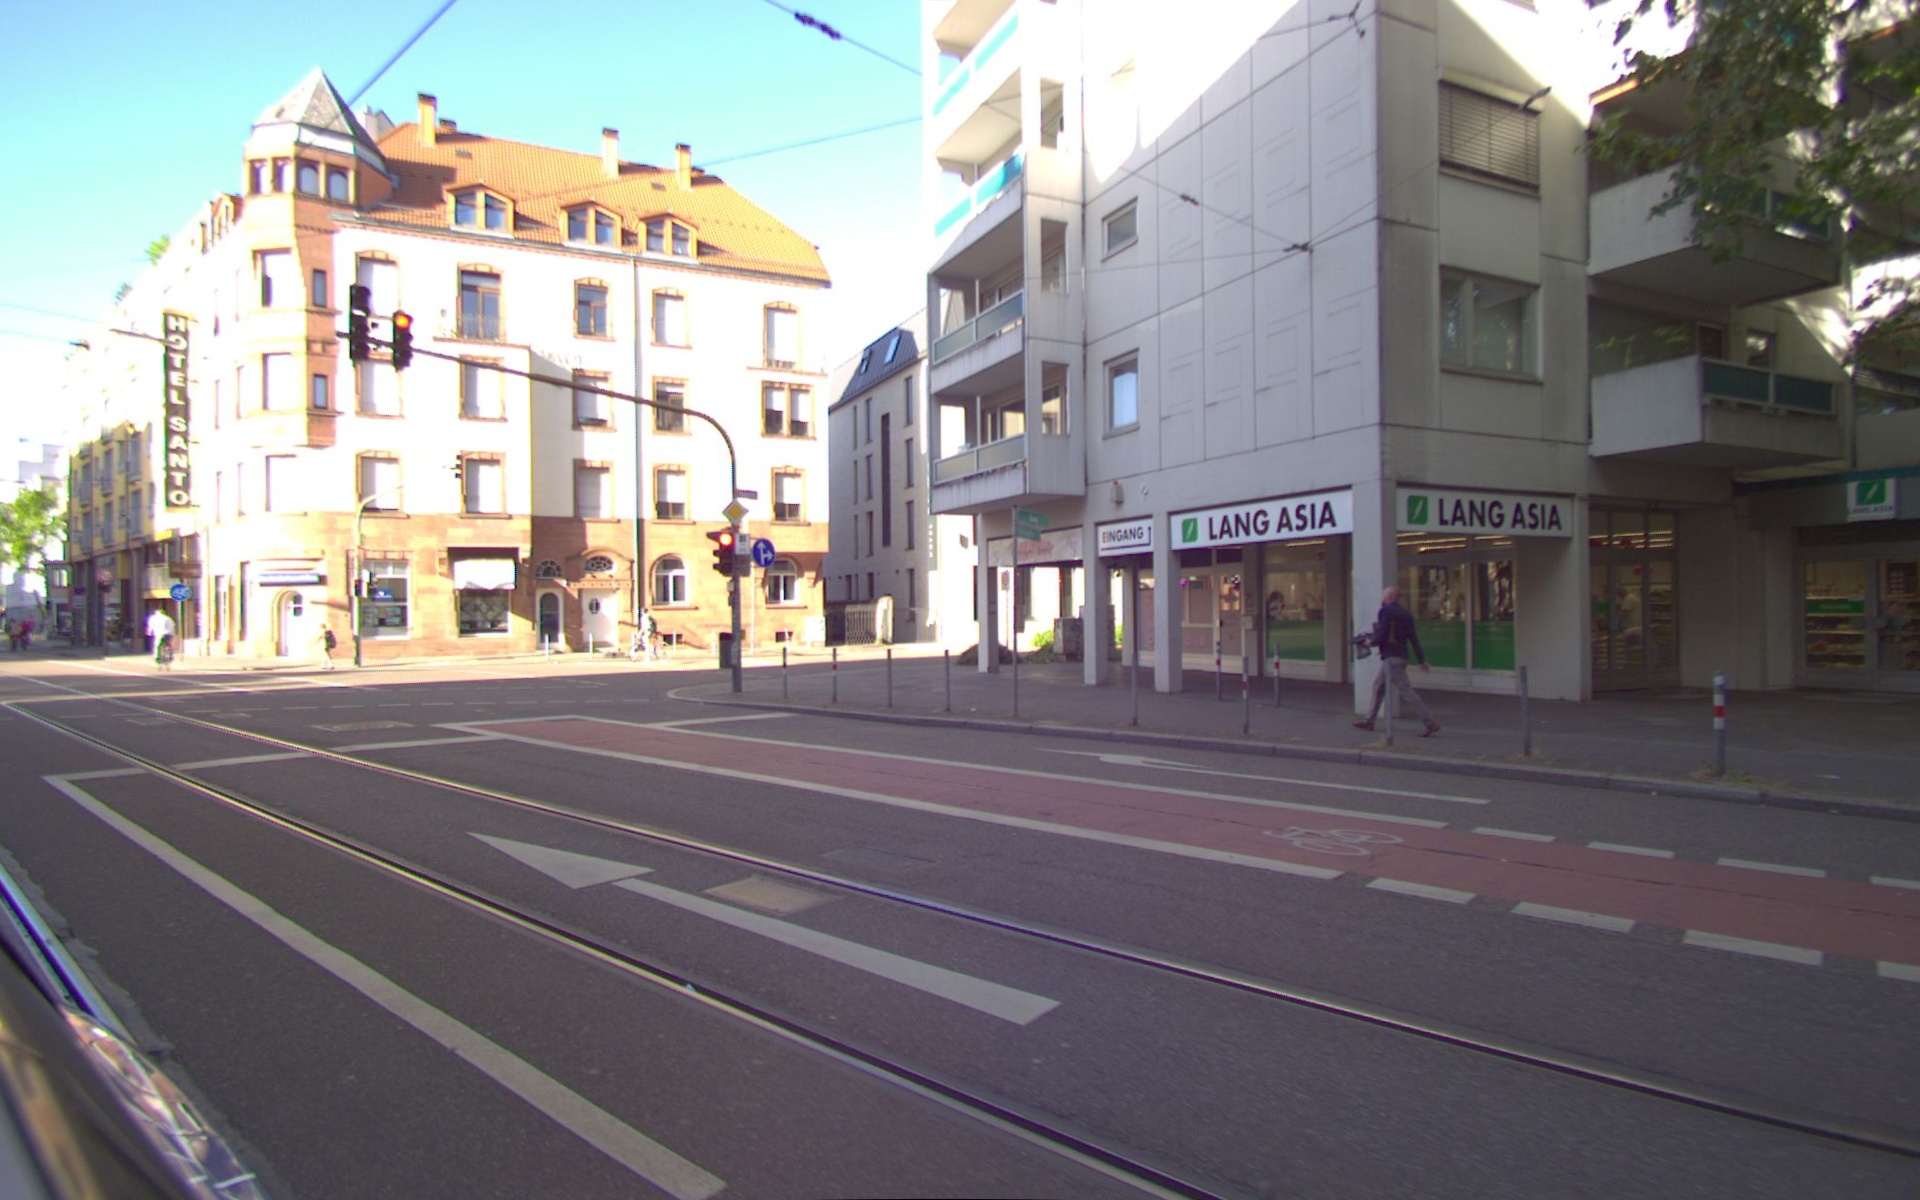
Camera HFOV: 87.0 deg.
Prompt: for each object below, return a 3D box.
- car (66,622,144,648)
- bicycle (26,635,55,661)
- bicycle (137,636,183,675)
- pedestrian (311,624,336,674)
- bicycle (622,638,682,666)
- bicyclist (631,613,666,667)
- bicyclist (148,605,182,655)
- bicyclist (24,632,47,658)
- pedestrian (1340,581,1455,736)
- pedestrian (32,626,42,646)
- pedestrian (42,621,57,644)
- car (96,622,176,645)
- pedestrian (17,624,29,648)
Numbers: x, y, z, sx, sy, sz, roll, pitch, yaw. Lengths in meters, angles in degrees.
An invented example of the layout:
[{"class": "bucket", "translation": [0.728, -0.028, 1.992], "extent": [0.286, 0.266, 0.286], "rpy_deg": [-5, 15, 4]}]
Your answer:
[{"class": "car", "translation": [-63.480, 2.565, 75.194], "extent": [1.784, 1.825, 4.189], "rpy_deg": [1, 0, 41]}, {"class": "bicycle", "translation": [-43.486, 2.268, 47.858], "extent": [2.060, 1.192, 0.723], "rpy_deg": [-2, -1, 40]}, {"class": "bicycle", "translation": [-24.447, 1.680, 30.915], "extent": [2.082, 1.129, 0.685], "rpy_deg": [-1, -2, 40]}, {"class": "pedestrian", "translation": [-20.545, 1.570, 32.663], "extent": [0.515, 1.564, 0.537], "rpy_deg": [-2, -1, 39]}, {"class": "bicycle", "translation": [-10.405, 1.752, 34.238], "extent": [1.789, 0.916, 0.791], "rpy_deg": [-1, -1, 2]}, {"class": "bicyclist", "translation": [-10.532, 1.341, 34.246], "extent": [0.961, 1.777, 0.615], "rpy_deg": [-1, -1, 1]}, {"class": "bicyclist", "translation": [-24.124, 0.896, 30.719], "extent": [0.778, 1.494, 0.675], "rpy_deg": [-2, -1, 40]}, {"class": "bicyclist", "translation": [-50.511, 2.434, 55.287], "extent": [1.467, 1.391, 0.728], "rpy_deg": [-1, -2, 40]}, {"class": "pedestrian", "translation": [5.273, 0.689, 12.227], "extent": [0.673, 1.779, 1.027], "rpy_deg": [0, -2, -38]}, {"class": "pedestrian", "translation": [-75.801, 2.951, 83.104], "extent": [0.499, 1.629, 0.566], "rpy_deg": [-2, -2, 40]}, {"class": "pedestrian", "translation": [-71.867, 2.583, 79.909], "extent": [0.777, 1.777, 0.708], "rpy_deg": [-1, -1, 32]}, {"class": "car", "translation": [-58.815, 2.388, 72.321], "extent": [1.784, 1.560, 4.189], "rpy_deg": [1, 0, 41]}, {"class": "pedestrian", "translation": [-76.648, 2.912, 82.779], "extent": [0.708, 1.961, 0.631], "rpy_deg": [-2, -2, 40]}]
